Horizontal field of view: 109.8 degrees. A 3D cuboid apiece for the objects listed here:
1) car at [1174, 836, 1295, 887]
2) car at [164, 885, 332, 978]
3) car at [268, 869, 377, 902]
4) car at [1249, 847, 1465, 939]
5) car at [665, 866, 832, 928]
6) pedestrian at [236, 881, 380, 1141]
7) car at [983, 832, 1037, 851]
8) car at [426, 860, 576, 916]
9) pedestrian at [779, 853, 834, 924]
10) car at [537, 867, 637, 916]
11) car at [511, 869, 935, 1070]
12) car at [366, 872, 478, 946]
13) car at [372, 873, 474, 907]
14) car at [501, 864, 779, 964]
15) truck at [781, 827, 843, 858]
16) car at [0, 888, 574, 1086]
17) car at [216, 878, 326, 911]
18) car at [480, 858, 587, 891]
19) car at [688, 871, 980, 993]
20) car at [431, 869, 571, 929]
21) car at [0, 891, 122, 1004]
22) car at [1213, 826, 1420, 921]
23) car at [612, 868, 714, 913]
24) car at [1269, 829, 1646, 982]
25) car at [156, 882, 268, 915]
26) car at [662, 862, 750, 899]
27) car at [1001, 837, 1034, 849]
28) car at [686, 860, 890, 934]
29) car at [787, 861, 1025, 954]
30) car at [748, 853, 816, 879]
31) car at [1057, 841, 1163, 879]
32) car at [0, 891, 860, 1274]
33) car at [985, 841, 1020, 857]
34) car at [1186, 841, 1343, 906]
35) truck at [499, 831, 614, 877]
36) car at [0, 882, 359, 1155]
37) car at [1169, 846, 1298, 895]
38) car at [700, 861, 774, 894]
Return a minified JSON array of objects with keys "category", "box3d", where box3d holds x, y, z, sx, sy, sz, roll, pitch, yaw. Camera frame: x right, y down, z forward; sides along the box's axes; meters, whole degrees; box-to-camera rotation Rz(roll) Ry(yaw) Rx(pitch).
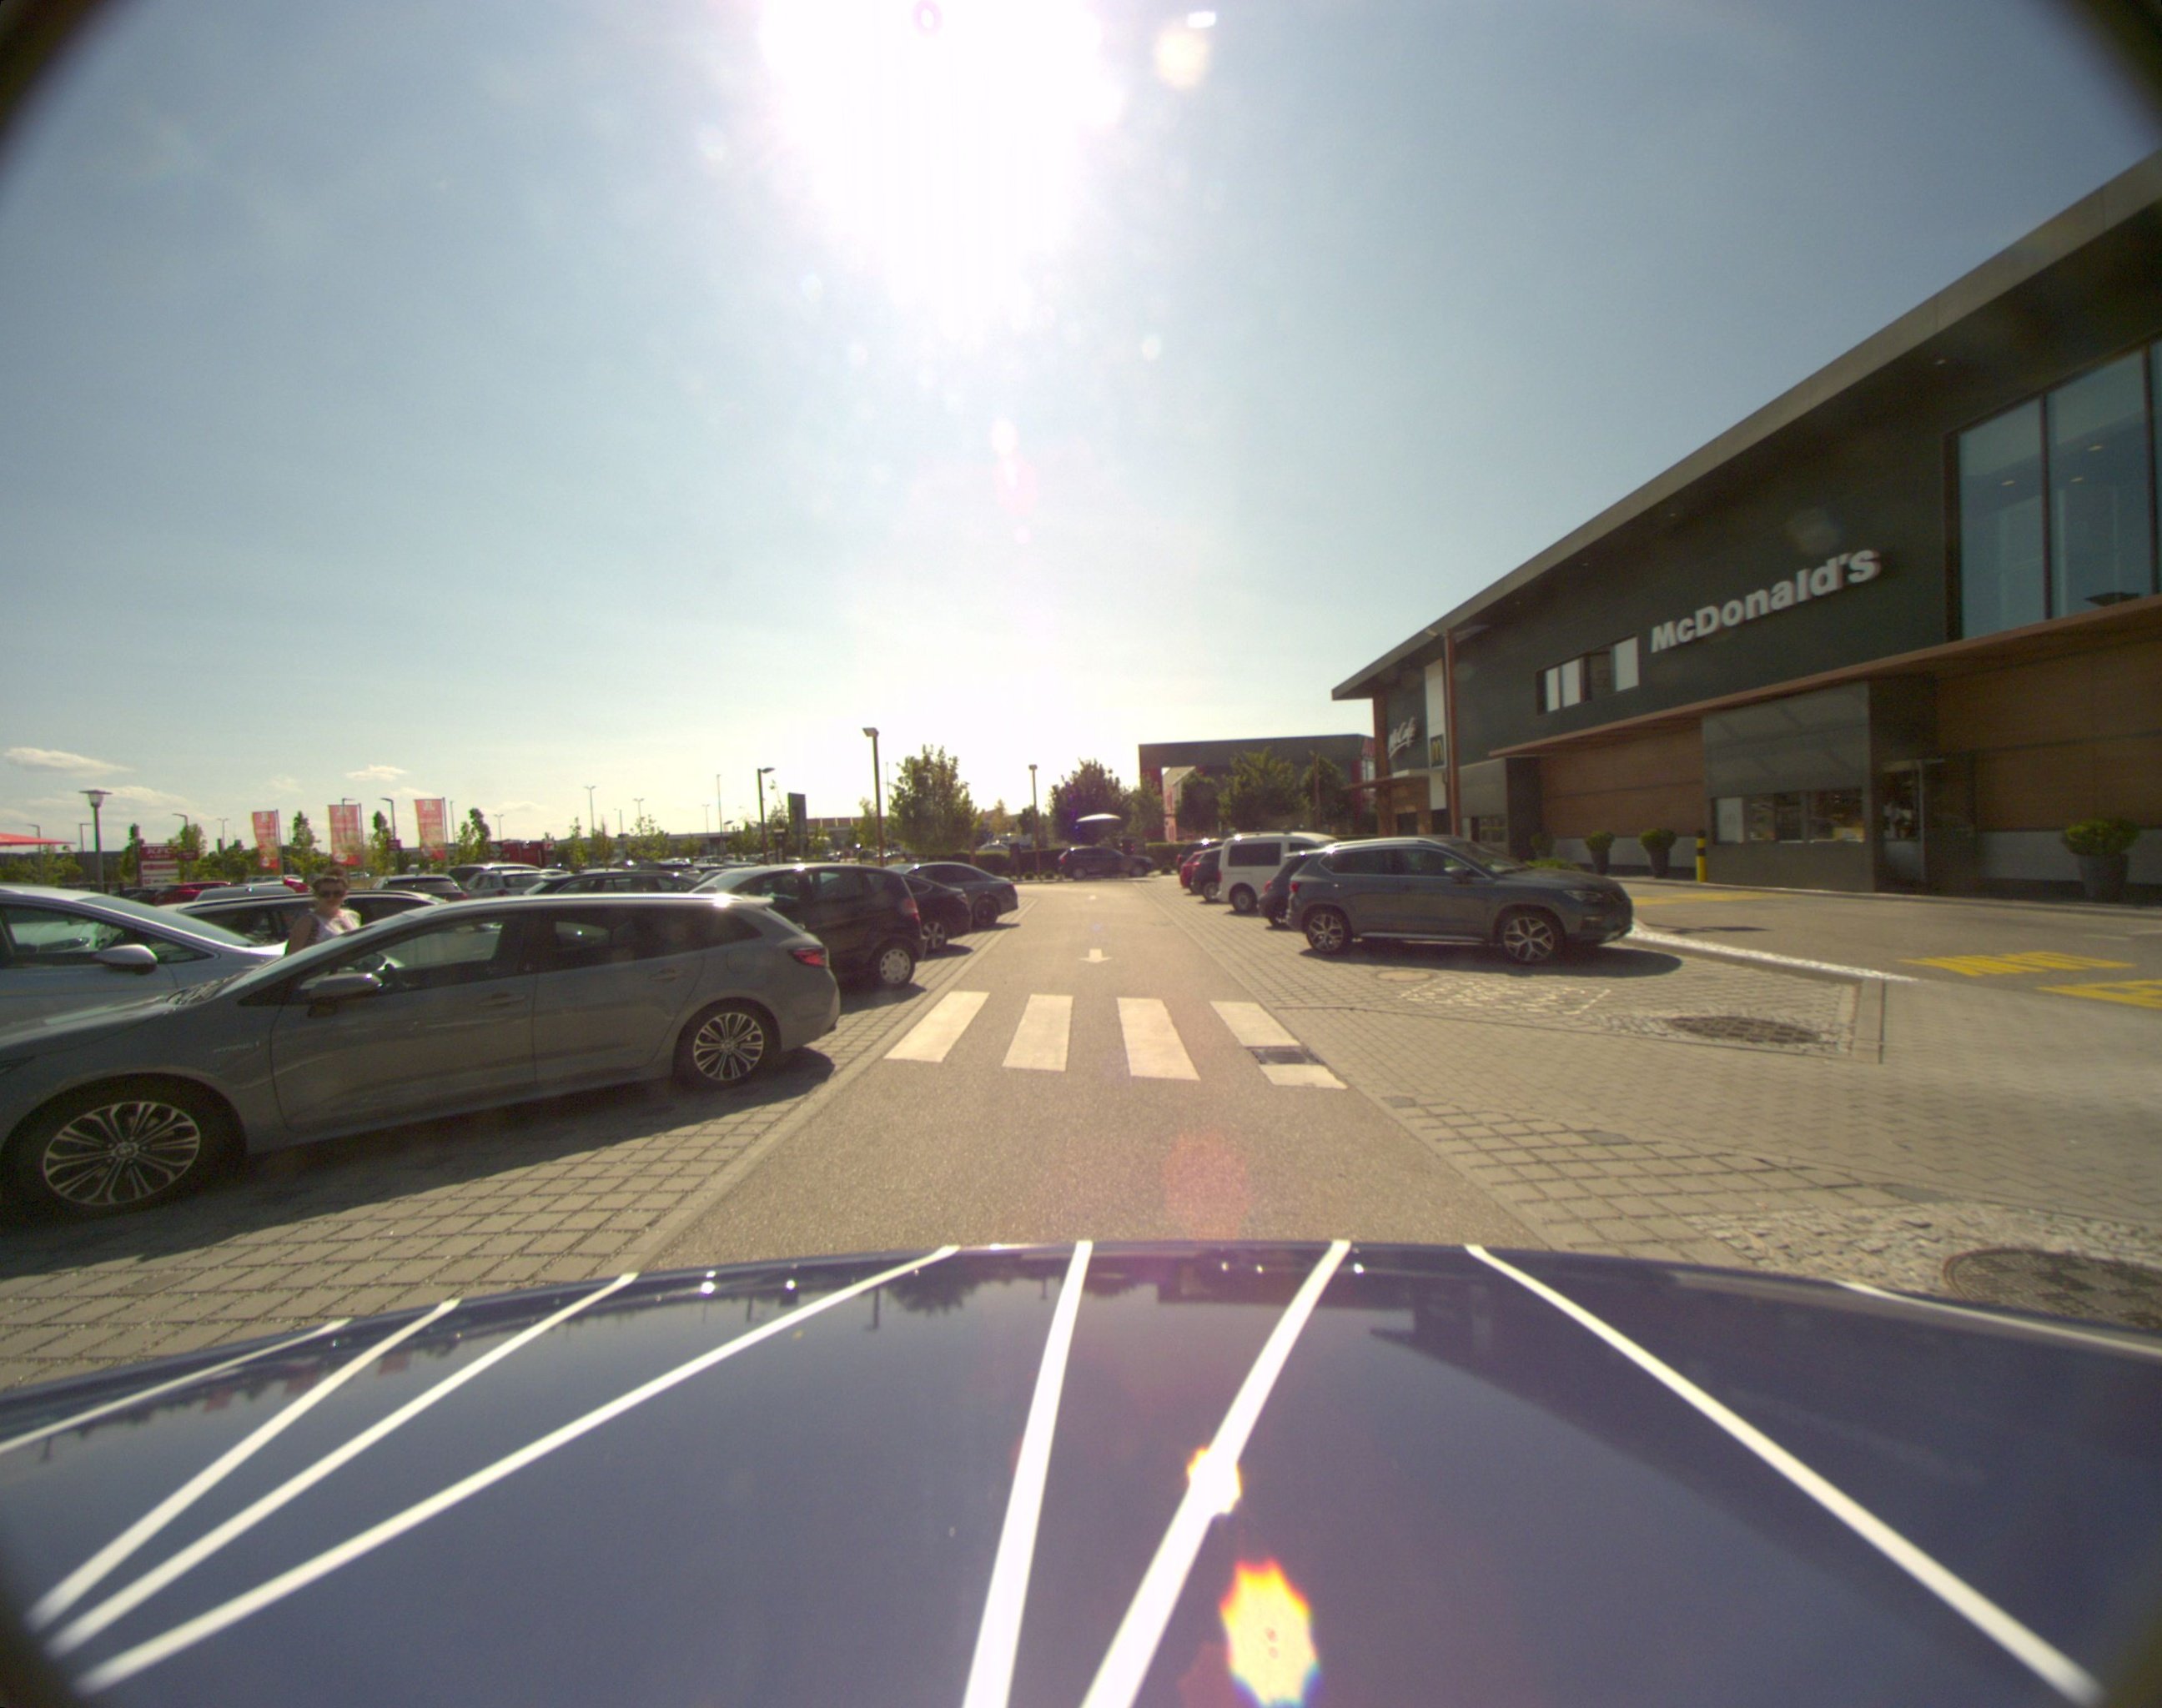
[{"category":"car","box3d":[5.671,0.276,28.091,4.030,1.696,1.677,-2,1,23]},{"category":"car","box3d":[-16.217,1.401,15.001,1.824,1.395,3.989,-3,1,-42]},{"category":"car","box3d":[-40.196,1.647,40.376,1.685,1.445,3.757,-2,1,9]},{"category":"car","box3d":[5.061,0.679,14.099,3.406,1.473,1.571,-2,1,39]},{"category":"car","box3d":[-9.274,1.139,21.382,3.911,1.418,1.702,-3,1,-42]},{"category":"pedestrian","box3d":[-5.543,1.070,5.490,0.564,1.703,0.609,-3,2,-36]},{"category":"car","box3d":[-9.136,-1.638,97.998,6.567,2.231,2.300,-2,1,0]},{"category":"car","box3d":[-21.459,1.200,28.390,2.070,1.740,4.367,-2,1,2]},{"category":"pedestrian","box3d":[-7.661,0.940,21.231,1.027,1.905,0.903,-2,1,13]},{"category":"car","box3d":[-16.555,1.203,25.350,4.669,1.403,1.715,-1,2,44]},{"category":"car","box3d":[-3.938,1.073,8.786,4.007,1.584,1.807,-3,2,-43]},{"category":"car","box3d":[-16.051,1.239,18.437,1.824,1.480,3.989,-3,2,-43]},{"category":"car","box3d":[-34.324,1.847,39.761,1.685,1.445,3.757,-2,1,9]},{"category":"car","box3d":[-8.709,1.061,15.269,4.425,1.502,1.978,-3,2,-43]},{"category":"truck","box3d":[-30.236,-1.279,85.400,7.544,3.333,2.426,-1,2,34]},{"category":"car","box3d":[-8.313,1.218,8.483,4.090,1.400,1.788,-2,1,-45]},{"category":"car","box3d":[-44.342,2.185,41.700,1.685,1.445,3.757,-2,1,9]},{"category":"car","box3d":[-26.990,0.982,37.654,1.886,1.390,4.157,-2,1,9]},{"category":"car","box3d":[-3.880,1.103,12.378,4.083,1.440,1.823,-3,2,-43]},{"category":"car","box3d":[-16.914,1.273,22.114,4.340,1.503,1.782,-2,1,33]},{"category":"car","box3d":[-16.962,1.426,12.041,4.459,1.463,1.918,-1,1,41]},{"category":"car","box3d":[5.316,0.413,17.425,4.133,1.910,1.761,-1,2,40]},{"category":"car","box3d":[-16.224,1.391,29.425,4.044,1.547,1.810,-1,1,36]},{"category":"car","box3d":[4.985,0.652,10.493,1.793,1.594,4.217,-6,2,-44]},{"category":"car","box3d":[-48.746,2.454,42.749,1.685,1.503,3.757,-2,1,9]},{"category":"car","box3d":[-16.284,1.123,32.959,4.075,1.414,1.801,-1,1,39]},{"category":"car","box3d":[-7.975,-1.386,95.056,3.905,1.334,1.665,-2,1,0]},{"category":"car","box3d":[-7.445,1.014,19.610,4.425,1.502,1.978,-3,2,-43]},{"category":"car","box3d":[-3.598,1.010,16.208,4.551,1.502,1.882,-3,2,-43]},{"category":"car","box3d":[-25.730,1.040,65.448,5.014,2.002,2.001,-2,2,9]},{"category":"car","box3d":[1.385,0.271,37.401,5.061,1.620,1.924,-2,1,-1]},{"category":"car","box3d":[-4.100,1.095,5.077,4.672,1.438,1.830,-1,0,-42]},{"category":"car","box3d":[-9.303,-0.655,89.906,3.998,1.718,1.893,-2,1,-3]},{"category":"car","box3d":[5.089,0.522,21.202,3.834,1.623,1.761,-2,1,35]},{"category":"truck","box3d":[-48.068,-0.031,69.686,9.115,3.844,3.212,-2,1,13]},{"category":"car","box3d":[-7.826,1.135,5.222,4.075,1.630,1.743,-3,1,-43]},{"category":"car","box3d":[5.004,0.541,24.972,3.763,1.435,1.678,-2,1,29]},{"category":"car","box3d":[-16.639,1.114,36.678,3.765,1.414,1.917,-1,1,44]}]
